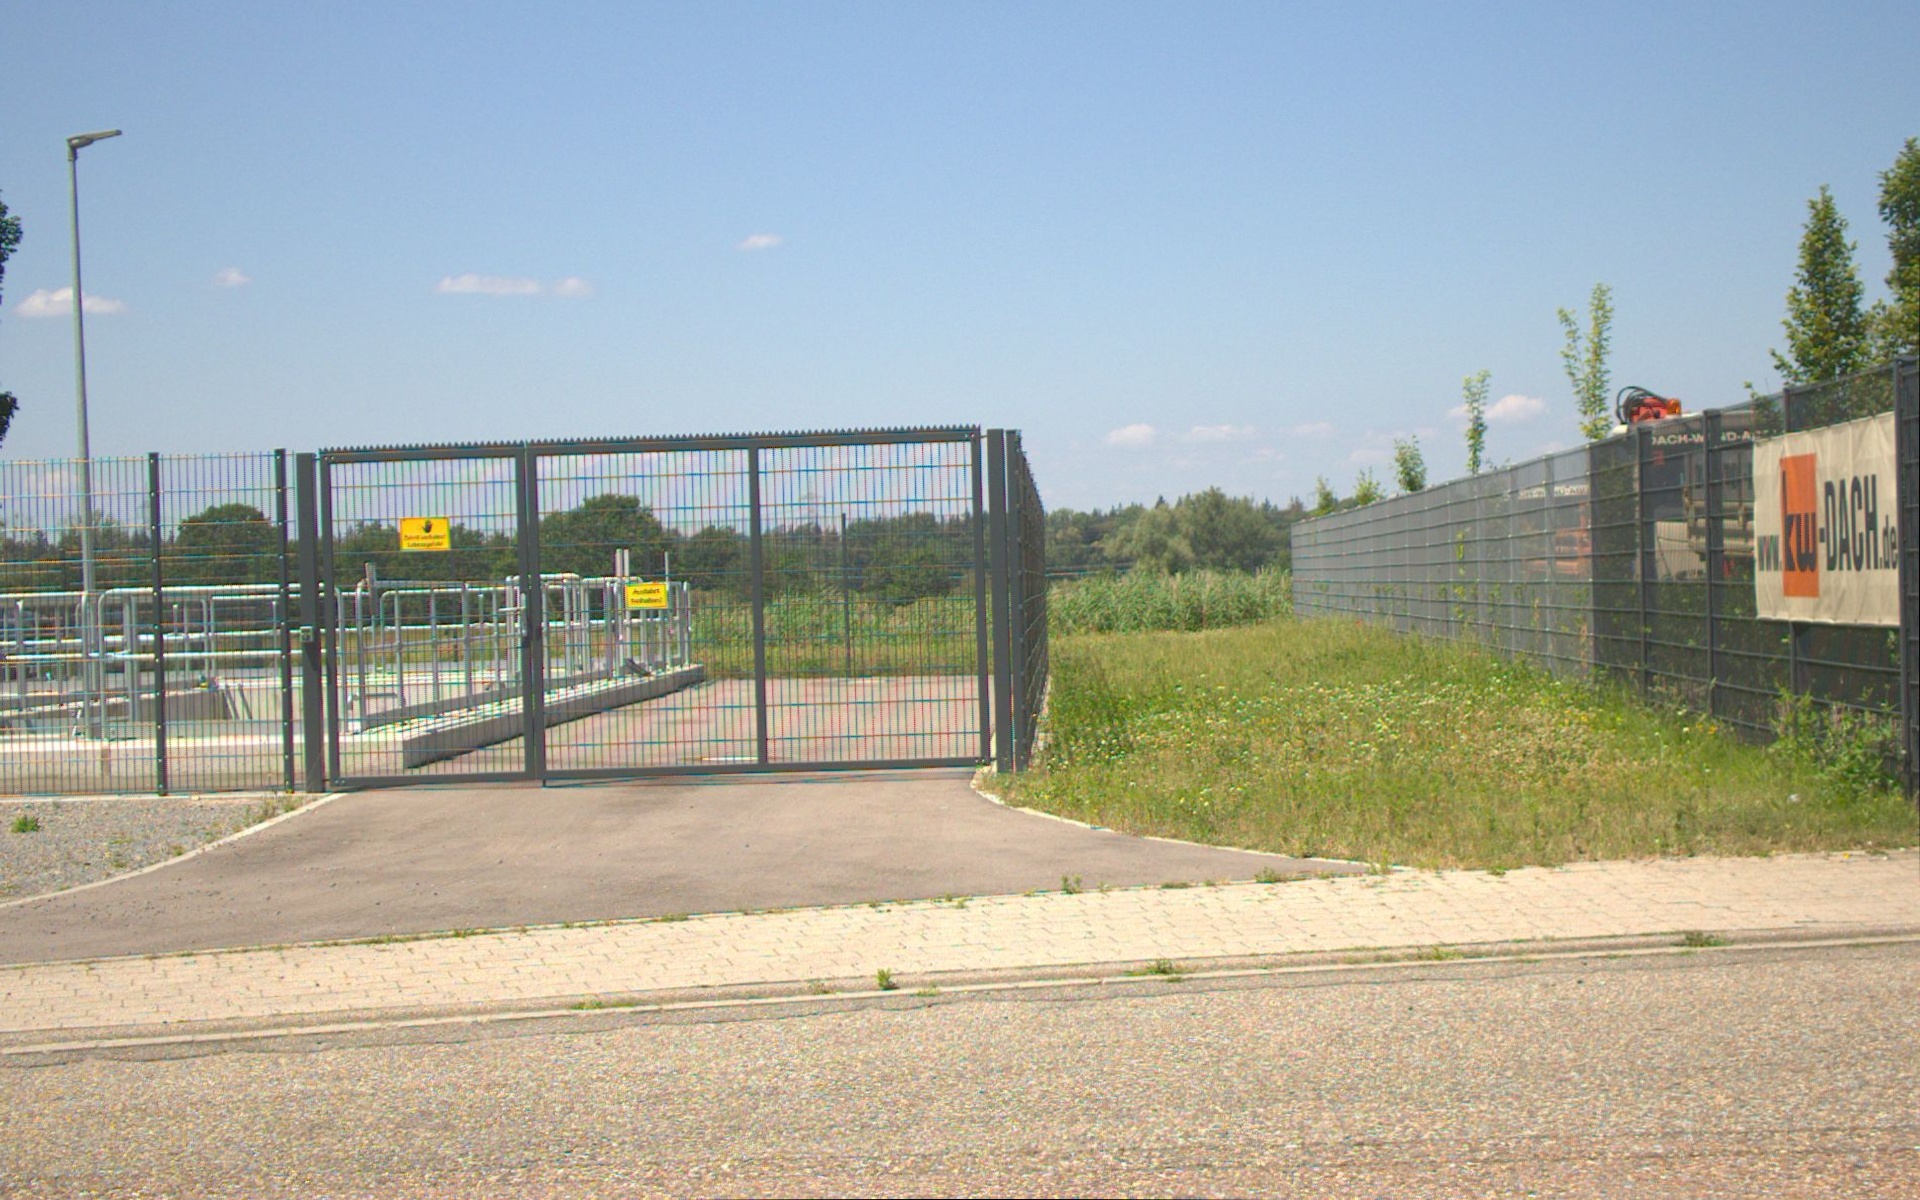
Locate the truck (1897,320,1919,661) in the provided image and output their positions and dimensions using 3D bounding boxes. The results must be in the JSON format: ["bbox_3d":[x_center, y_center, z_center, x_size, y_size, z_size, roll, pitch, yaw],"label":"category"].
[{"bbox_3d":[12.417,-1.272,36.956,2.921,3.916,6.935,-2,0,2],"label":"truck"}]

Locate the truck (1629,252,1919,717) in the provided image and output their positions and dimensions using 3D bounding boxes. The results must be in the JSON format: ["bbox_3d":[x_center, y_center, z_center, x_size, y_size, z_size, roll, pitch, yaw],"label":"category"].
[{"bbox_3d":[7.051,-0.827,26.189,2.727,3.051,6.935,-2,0,2],"label":"truck"}]

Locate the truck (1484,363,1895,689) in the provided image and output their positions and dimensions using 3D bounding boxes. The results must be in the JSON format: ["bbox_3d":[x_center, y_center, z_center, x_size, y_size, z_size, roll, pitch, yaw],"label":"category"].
[{"bbox_3d":[7.307,-0.721,35.412,2.921,2.928,6.935,-2,0,2],"label":"truck"}]
